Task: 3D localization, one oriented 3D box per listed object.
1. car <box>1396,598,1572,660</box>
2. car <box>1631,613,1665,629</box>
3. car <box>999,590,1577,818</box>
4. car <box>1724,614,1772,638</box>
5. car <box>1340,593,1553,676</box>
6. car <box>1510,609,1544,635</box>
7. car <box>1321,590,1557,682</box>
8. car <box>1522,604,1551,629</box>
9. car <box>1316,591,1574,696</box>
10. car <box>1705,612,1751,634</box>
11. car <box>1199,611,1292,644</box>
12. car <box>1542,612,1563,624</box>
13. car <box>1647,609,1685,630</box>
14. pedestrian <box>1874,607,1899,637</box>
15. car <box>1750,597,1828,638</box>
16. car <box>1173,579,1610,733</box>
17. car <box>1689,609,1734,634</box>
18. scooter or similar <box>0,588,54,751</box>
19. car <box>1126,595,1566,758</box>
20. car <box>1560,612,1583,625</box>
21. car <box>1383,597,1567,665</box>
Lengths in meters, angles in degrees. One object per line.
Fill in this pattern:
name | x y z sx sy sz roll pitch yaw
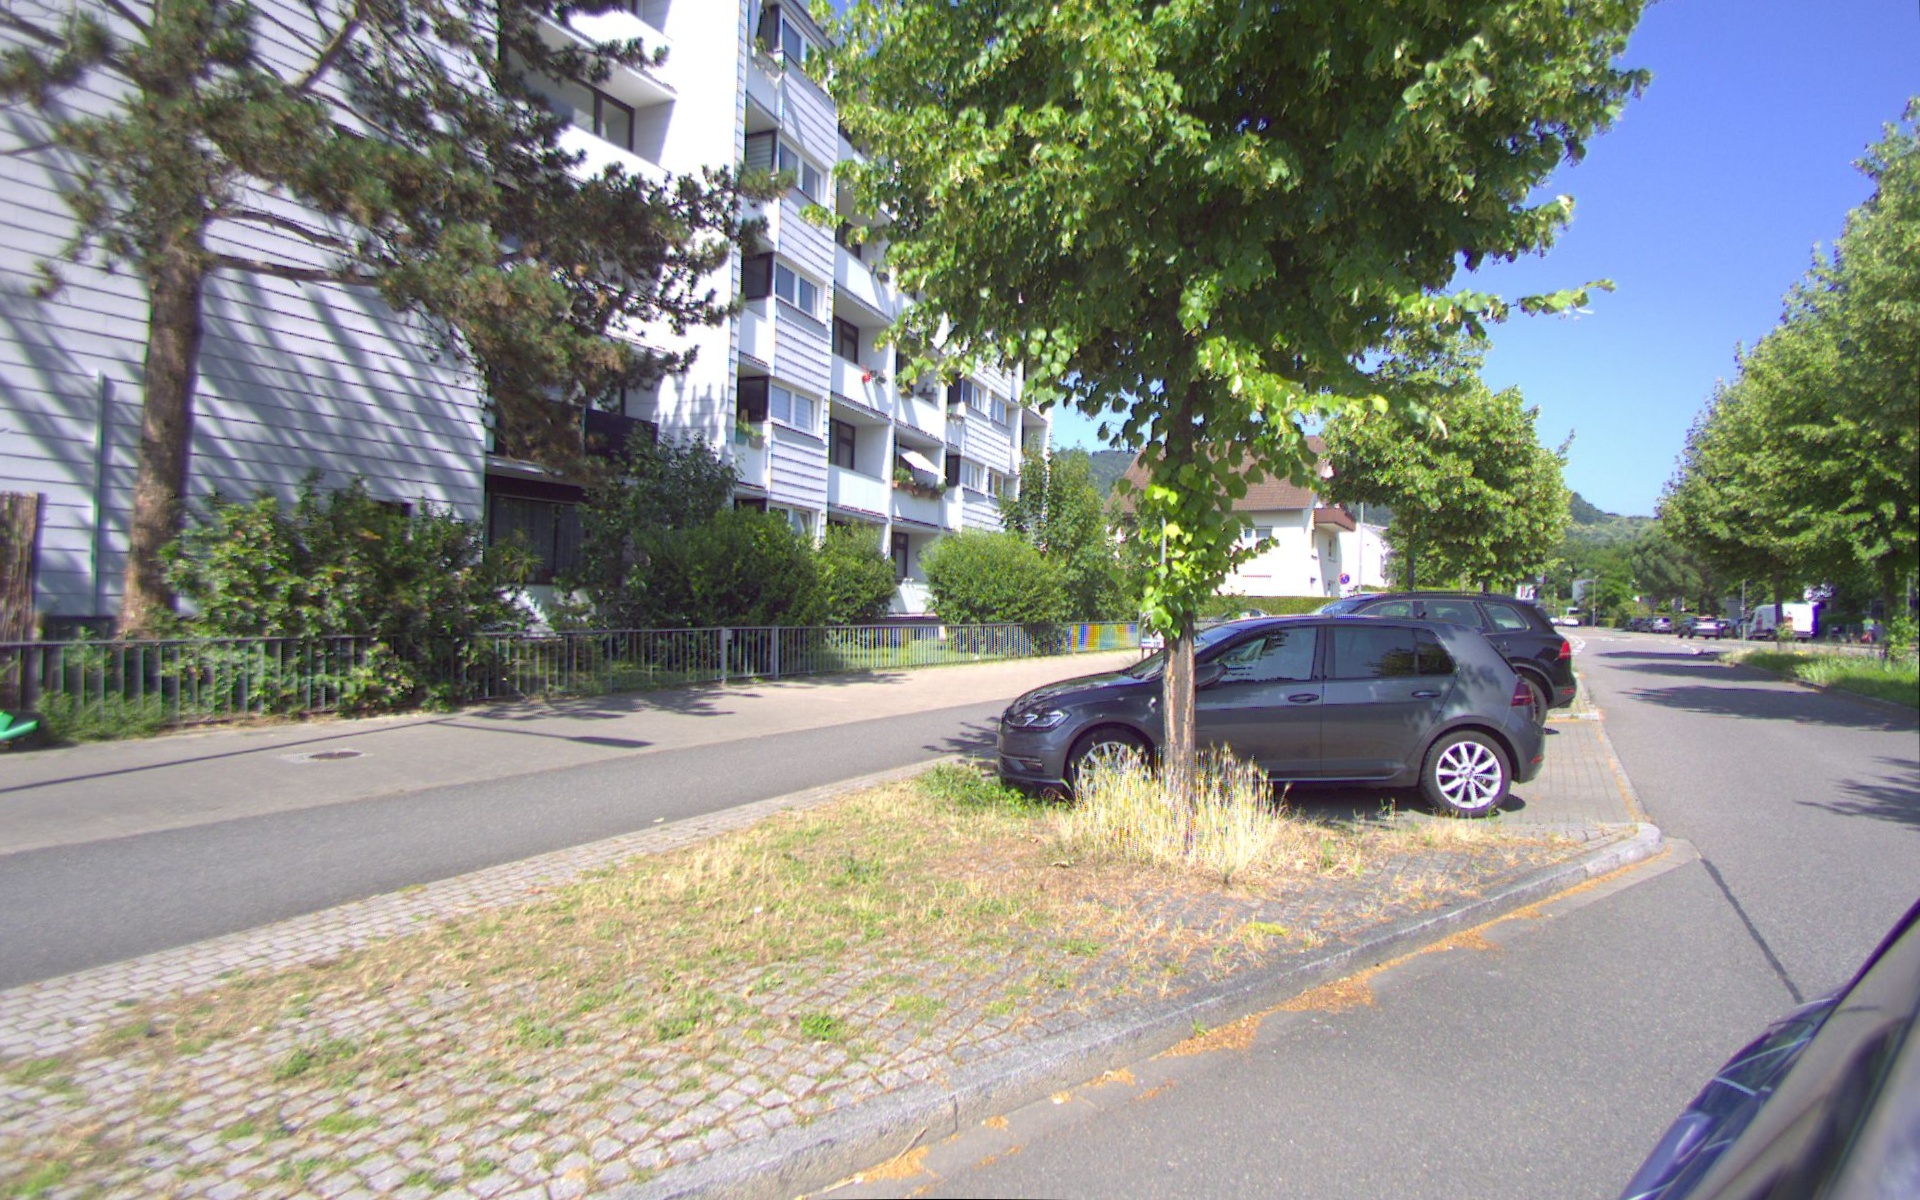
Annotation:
car | 15.223 0.820 29.582 4.040 1.661 2.045 1 0 -2
car | 67.150 2.050 98.832 1.825 1.476 4.162 2 0 21
car | 2.364 0.739 8.240 4.041 1.549 1.999 1 0 2
car | 57.152 1.861 73.487 1.707 1.579 3.968 2 0 23
car | 10.704 0.720 22.566 3.939 1.661 1.793 1 0 13
car | 31.835 1.212 56.780 1.608 1.408 3.957 -1 -1 30
car | 9.522 0.688 20.426 3.935 1.661 1.747 1 -1 10
car | 44.725 1.267 78.569 1.751 1.850 4.553 -1 -1 28
car | 8.499 0.706 18.123 3.950 1.661 1.741 1 0 20
car | 59.120 1.734 77.965 1.707 1.579 4.635 2 0 23
car | 14.173 1.348 50.332 4.098 1.416 1.789 2 -3 32
car | 83.659 2.477 142.902 1.977 1.638 3.969 1 0 22
car | 65.368 1.792 93.754 1.825 1.787 4.551 2 0 21
pedestrian | 56.744 1.325 62.004 0.967 1.802 0.718 1 -1 28
car | 55.235 1.180 67.550 2.070 2.528 5.913 2 0 20
car | 5.192 0.646 12.640 4.657 1.681 1.752 1 0 2
car | 50.945 1.438 68.690 1.730 1.566 4.035 2 1 26
scooter or similar | -7.154 0.501 7.249 0.230 1.181 0.944 0 -1 38
car | 3.856 0.735 10.650 3.926 1.492 1.768 1 0 2
car | 79.067 2.338 130.907 1.937 1.571 3.969 1 0 22
car | 13.565 0.794 26.767 3.919 1.660 1.883 1 0 -7
